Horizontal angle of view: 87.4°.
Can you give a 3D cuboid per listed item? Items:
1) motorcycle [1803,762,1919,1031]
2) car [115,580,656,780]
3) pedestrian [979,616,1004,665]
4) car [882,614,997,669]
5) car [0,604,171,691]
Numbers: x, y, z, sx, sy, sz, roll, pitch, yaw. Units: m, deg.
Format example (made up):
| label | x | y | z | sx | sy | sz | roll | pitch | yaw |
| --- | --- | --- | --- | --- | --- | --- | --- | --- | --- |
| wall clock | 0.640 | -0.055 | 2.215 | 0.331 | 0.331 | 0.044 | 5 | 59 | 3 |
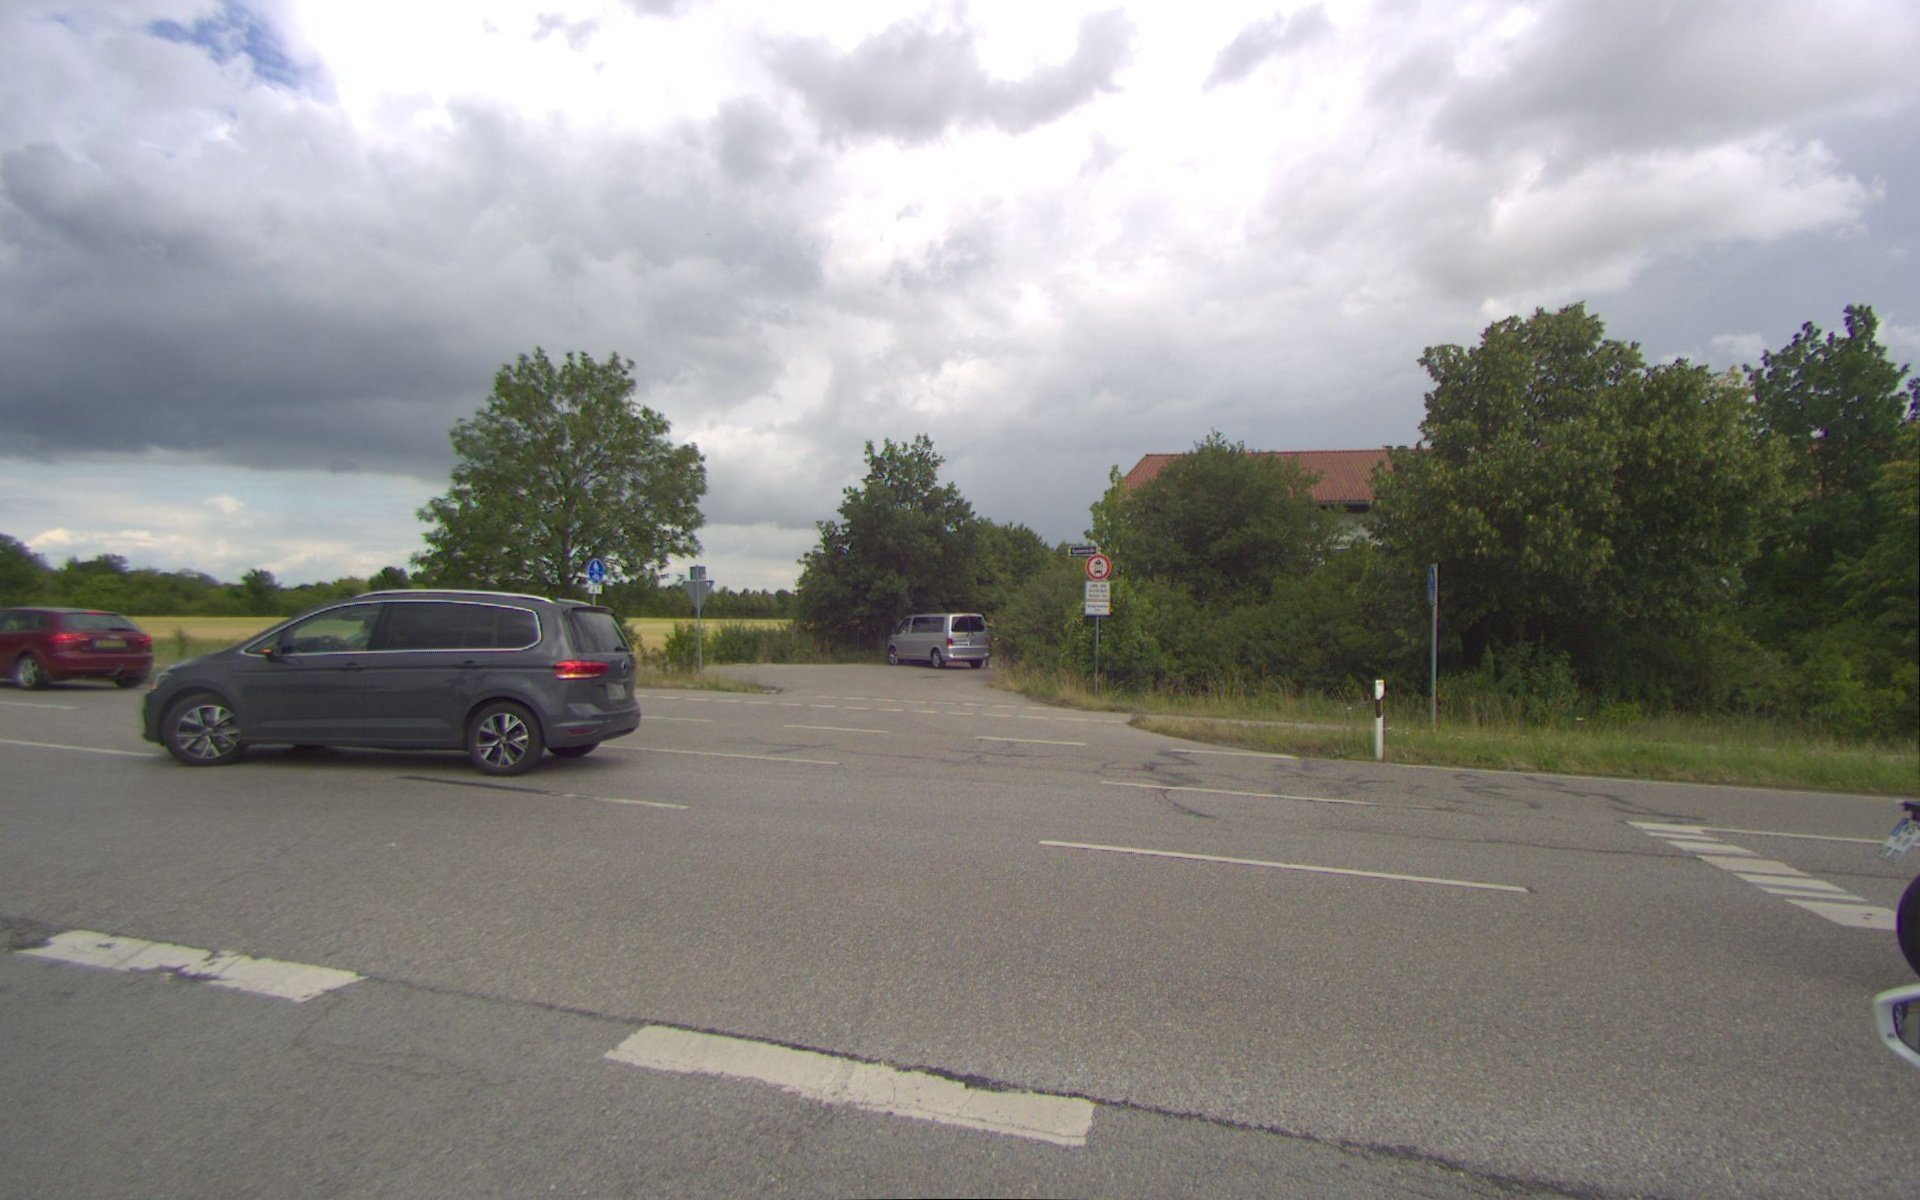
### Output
| label | x | y | z | sx | sy | sz | roll | pitch | yaw |
| --- | --- | --- | --- | --- | --- | --- | --- | --- | --- |
| motorcycle | 4.767 | 1.209 | 3.875 | 2.103 | 0.901 | 0.944 | 1 | -1 | 18 |
| car | -5.368 | 0.742 | 9.813 | 4.206 | 1.680 | 1.754 | 1 | -2 | 0 |
| pedestrian | 1.161 | 1.482 | 37.039 | 0.690 | 1.746 | 0.732 | 1 | -1 | 25 |
| car | -0.853 | 1.502 | 37.678 | 2.089 | 1.911 | 5.058 | 0 | -1 | -31 |
| car | -16.416 | 0.813 | 17.938 | 4.008 | 1.420 | 1.679 | 0 | -2 | 18 |
